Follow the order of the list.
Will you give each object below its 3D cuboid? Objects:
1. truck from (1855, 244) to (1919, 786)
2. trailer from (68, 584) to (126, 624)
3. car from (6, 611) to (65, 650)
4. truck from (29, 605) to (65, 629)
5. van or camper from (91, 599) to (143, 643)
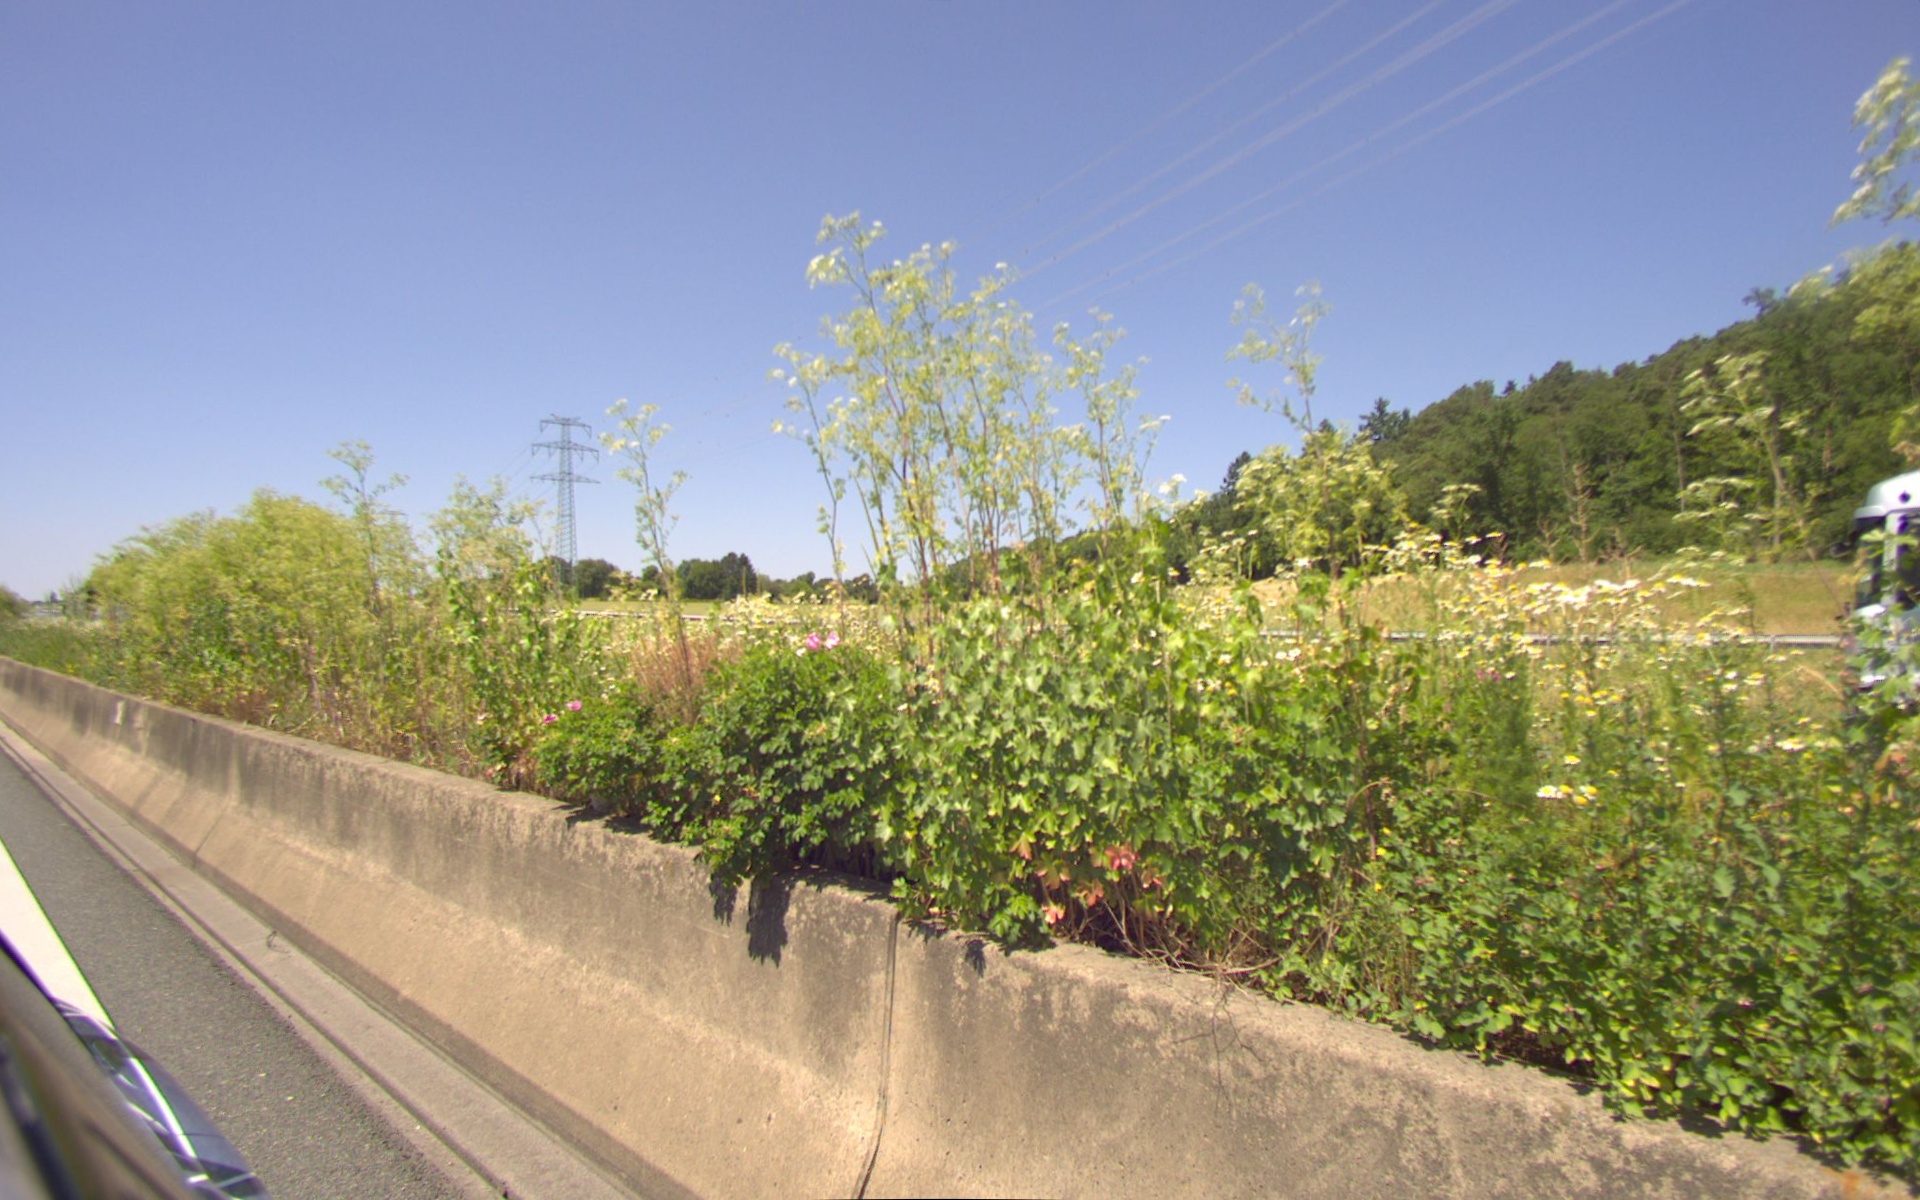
[{"bbox_3d":[11.282,-0.812,9.638,4.031,5.089,3.268,-1,-1,42],"label":"truck"},{"bbox_3d":[-84.016,0.475,98.481,8.198,3.790,3.149,-1,-2,42],"label":"trailer"},{"bbox_3d":[-53.226,1.713,58.242,4.598,2.163,1.973,-1,-1,41],"label":"car"},{"bbox_3d":[-127.384,2.372,141.082,11.820,3.313,2.734,-1,-2,43],"label":"truck"},{"bbox_3d":[-56.853,1.437,68.213,4.648,2.882,2.026,-1,-2,42],"label":"van or camper"}]
